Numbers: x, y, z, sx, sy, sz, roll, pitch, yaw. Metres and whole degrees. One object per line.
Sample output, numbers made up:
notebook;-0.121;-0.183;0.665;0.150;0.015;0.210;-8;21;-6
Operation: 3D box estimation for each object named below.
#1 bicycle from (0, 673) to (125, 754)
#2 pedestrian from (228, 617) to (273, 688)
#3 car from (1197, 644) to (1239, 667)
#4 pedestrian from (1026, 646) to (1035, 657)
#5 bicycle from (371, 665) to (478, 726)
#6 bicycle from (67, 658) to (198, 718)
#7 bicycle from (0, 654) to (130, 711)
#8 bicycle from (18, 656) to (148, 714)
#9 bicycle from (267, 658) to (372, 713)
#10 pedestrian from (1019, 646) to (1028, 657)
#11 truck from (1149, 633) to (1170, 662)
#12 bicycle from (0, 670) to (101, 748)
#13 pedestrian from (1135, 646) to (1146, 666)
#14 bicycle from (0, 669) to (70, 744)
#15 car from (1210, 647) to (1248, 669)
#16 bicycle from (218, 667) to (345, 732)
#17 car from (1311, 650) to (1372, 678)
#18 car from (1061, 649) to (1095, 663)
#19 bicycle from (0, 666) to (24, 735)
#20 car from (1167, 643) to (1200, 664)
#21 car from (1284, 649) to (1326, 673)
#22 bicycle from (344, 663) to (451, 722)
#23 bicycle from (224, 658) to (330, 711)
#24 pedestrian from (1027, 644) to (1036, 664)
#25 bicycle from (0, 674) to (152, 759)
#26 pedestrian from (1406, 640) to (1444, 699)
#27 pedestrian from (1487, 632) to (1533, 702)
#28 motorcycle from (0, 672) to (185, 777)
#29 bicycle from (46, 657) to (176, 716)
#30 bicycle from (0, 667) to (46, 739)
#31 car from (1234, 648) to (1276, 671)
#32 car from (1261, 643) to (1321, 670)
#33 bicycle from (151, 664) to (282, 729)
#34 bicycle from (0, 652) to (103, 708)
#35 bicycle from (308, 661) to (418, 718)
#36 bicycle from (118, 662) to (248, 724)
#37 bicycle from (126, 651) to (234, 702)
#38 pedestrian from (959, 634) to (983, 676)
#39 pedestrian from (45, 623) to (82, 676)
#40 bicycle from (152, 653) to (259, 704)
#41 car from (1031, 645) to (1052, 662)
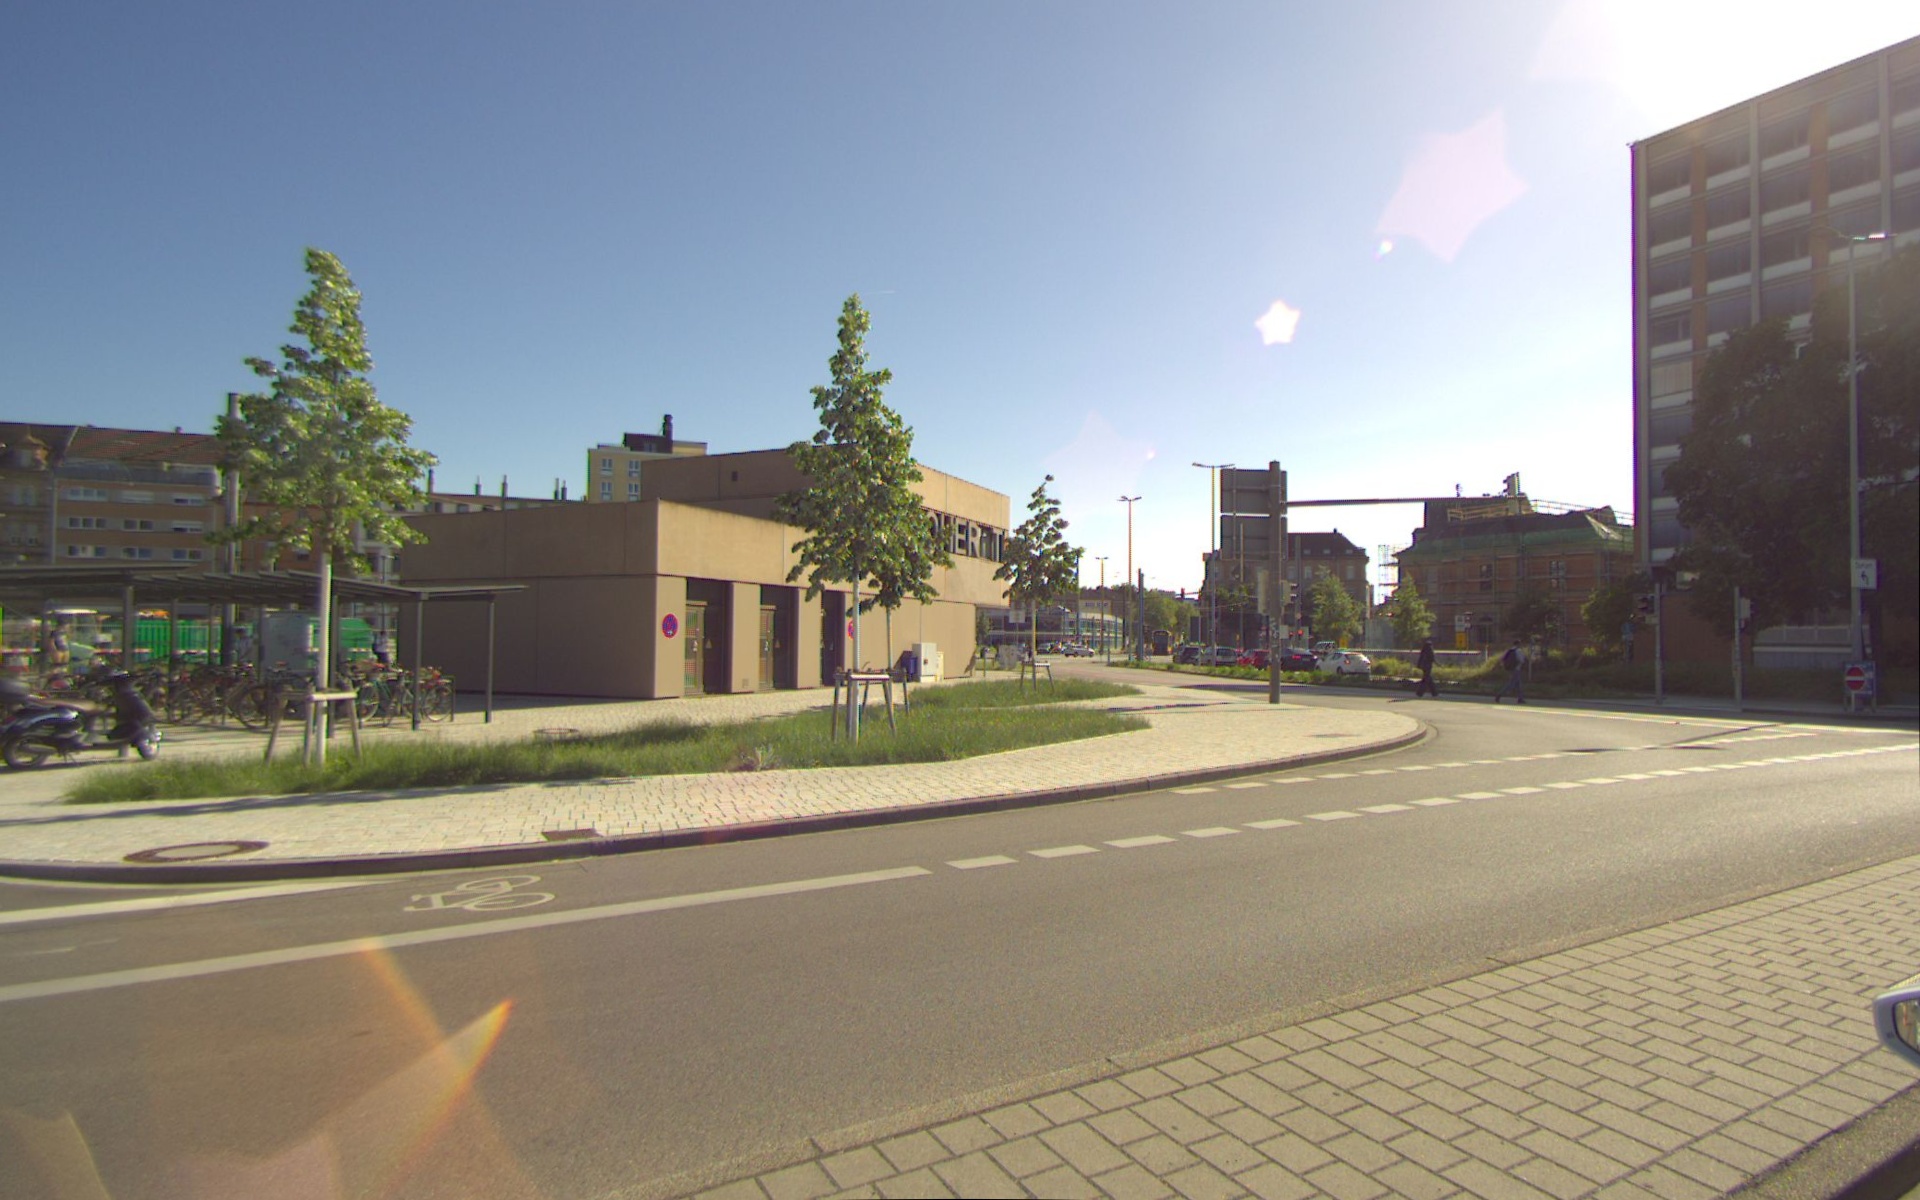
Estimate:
bicycle;-12.788;1.549;13.930;0.557;1.051;1.788;-1;-3;22
pedestrian;-17.913;1.315;25.366;0.606;1.746;0.682;0;-2;22
car;17.520;3.735;68.333;1.697;1.461;3.798;1;-2;-3
pedestrian;8.923;6.514;127.079;0.855;1.427;0.688;2;0;-32
bicycle;-9.854;1.735;18.549;0.557;1.051;1.788;-1;-3;22
bicycle;-15.247;1.595;18.560;0.557;1.051;1.788;-1;-3;22
bicycle;-17.190;1.564;19.336;0.557;1.051;1.788;-1;-3;22
bicycle;-16.628;1.585;19.098;0.557;1.051;1.788;-1;-3;22
bicycle;-12.930;1.712;20.339;0.557;1.051;1.788;-1;-3;22
pedestrian;7.965;6.482;126.468;0.855;1.427;0.688;2;0;-32
truck;27.478;6.561;138.499;2.549;3.723;5.229;2;0;10
bicycle;-13.337;1.528;14.154;0.557;1.051;1.788;-1;-3;22
pedestrian;14.851;4.586;82.579;0.566;1.632;0.565;2;0;-30
bicycle;-14.020;1.532;14.410;0.557;1.051;1.788;-1;-3;22
car;20.242;4.357;75.668;1.697;1.461;3.799;3;-2;-2
bicycle;-11.681;1.686;17.366;0.557;1.051;1.788;-1;-3;22
car;21.246;3.536;56.036;1.665;1.454;3.733;1;-2;-7
car;13.744;6.536;116.835;3.598;1.565;1.772;2;0;-30
bicycle;-15.213;1.517;14.936;0.557;1.051;1.788;-1;-3;22
car;16.667;4.006;75.128;1.696;1.461;3.912;3;-2;2
car;25.869;4.571;75.464;1.846;1.638;3.626;2;-3;0
bicycle;-10.643;1.723;19.077;0.557;1.051;1.788;-1;-3;22
bicycle;-14.101;1.728;20.810;0.557;1.051;1.788;-1;-3;22
pedestrian;6.045;4.582;84.684;0.643;1.632;0.676;2;0;-4
bicycle;-12.190;1.544;13.669;0.557;1.051;1.788;-1;-3;22
pedestrian;13.105;1.951;28.315;0.670;1.633;0.718;1;-2;-12
pedestrian;15.026;1.831;27.448;1.086;1.856;0.748;4;-3;-38
motorcycle;-10.932;1.501;12.485;0.584;1.134;1.983;0;-2;26
bicycle;-15.889;1.593;18.856;0.557;1.051;1.788;-1;-3;22
bicycle;-14.597;1.516;14.651;0.557;1.051;1.788;-1;-3;22
car;20.272;4.060;69.069;1.644;1.461;3.722;3;-2;-2
car;20.707;3.513;63.024;1.953;1.645;4.374;1;-2;-7
bicycle;-12.951;1.659;17.562;0.557;1.051;1.788;-1;-3;22
bicycle;-17.870;1.540;19.506;0.557;1.051;1.788;-1;-3;22
bicycle;-11.653;1.726;19.661;0.558;1.051;1.785;-2;-4;30
bicycle;-13.845;1.634;17.964;0.557;1.051;1.788;-1;-3;22
bicycle;-16.873;1.648;21.792;0.557;1.051;1.788;-1;-3;22
pedestrian;0.459;2.330;42.683;0.778;1.745;0.594;-2;-5;38
pedestrian;-26.171;1.443;29.328;0.550;1.538;0.588;0;-2;25
bicycle;-16.196;1.668;21.607;0.557;1.051;1.788;-1;-3;22
car;11.075;7.262;136.557;1.960;2.040;4.001;2;0;16
